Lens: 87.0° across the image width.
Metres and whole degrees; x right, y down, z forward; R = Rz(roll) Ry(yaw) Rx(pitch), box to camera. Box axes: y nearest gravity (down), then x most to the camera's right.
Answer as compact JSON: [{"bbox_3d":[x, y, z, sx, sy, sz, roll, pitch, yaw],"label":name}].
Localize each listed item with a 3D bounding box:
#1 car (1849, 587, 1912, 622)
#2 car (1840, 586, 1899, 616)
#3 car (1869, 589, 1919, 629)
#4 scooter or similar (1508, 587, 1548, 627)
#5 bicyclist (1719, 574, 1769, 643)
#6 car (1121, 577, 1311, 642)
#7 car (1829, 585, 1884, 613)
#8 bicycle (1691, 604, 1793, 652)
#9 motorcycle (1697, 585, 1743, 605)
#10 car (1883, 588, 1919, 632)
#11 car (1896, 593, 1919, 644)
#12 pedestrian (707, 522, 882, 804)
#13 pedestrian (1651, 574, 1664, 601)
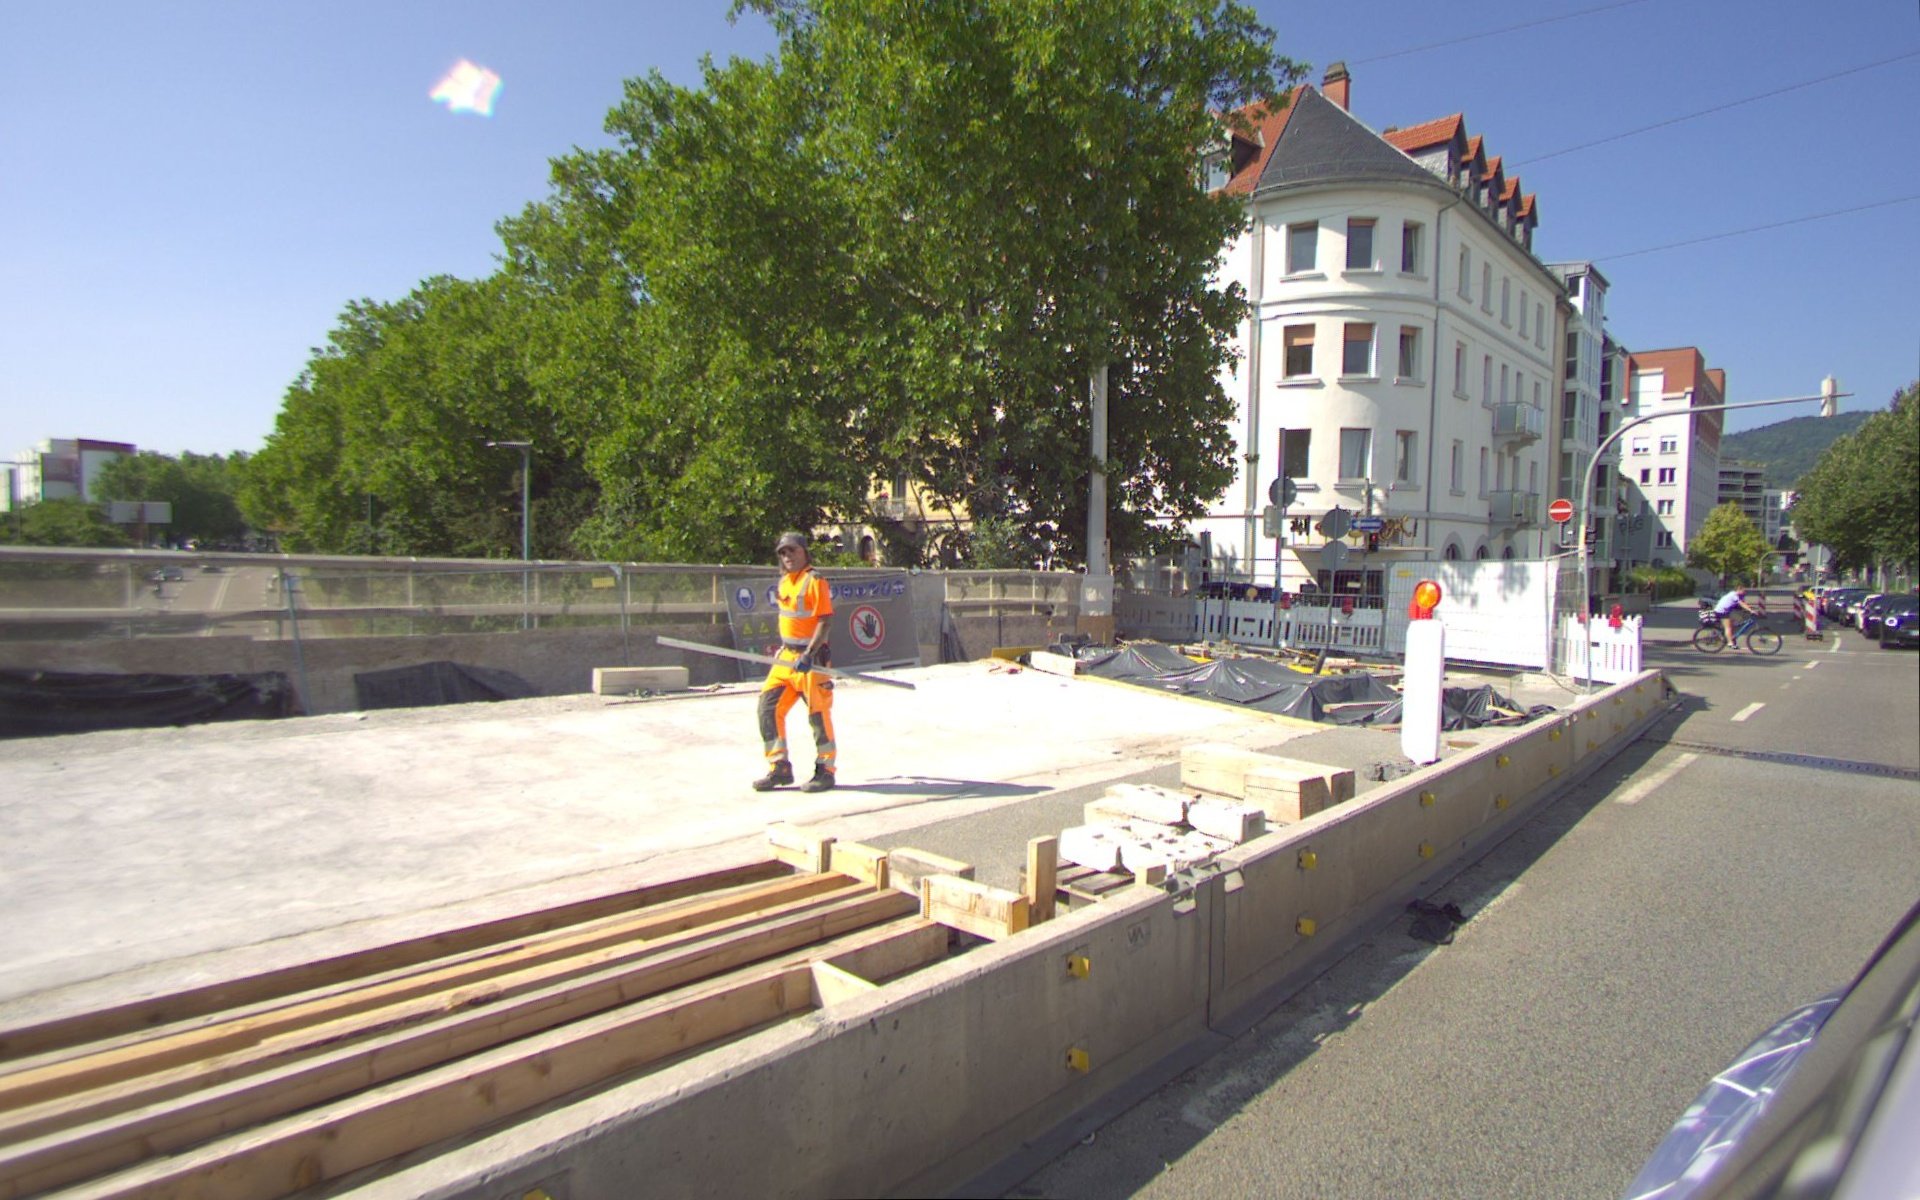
[{"bbox_3d":[38.902,0.151,42.827,1.760,1.371,3.942,2,2,40],"label":"car"},{"bbox_3d":[43.318,0.019,48.262,1.759,1.371,3.945,2,2,38],"label":"car"},{"bbox_3d":[35.083,0.301,37.713,1.761,1.371,3.940,2,2,42],"label":"car"},{"bbox_3d":[16.649,0.211,29.656,1.278,1.131,0.340,0,2,-28],"label":"scooter or similar"},{"bbox_3d":[18.596,0.183,24.018,0.778,1.568,0.703,2,4,31],"label":"bicyclist"},{"bbox_3d":[6.523,0.185,26.149,4.536,1.499,1.650,2,1,44],"label":"car"},{"bbox_3d":[47.774,-0.080,53.987,1.757,1.371,3.949,2,2,36],"label":"car"},{"bbox_3d":[18.562,0.646,24.082,1.805,1.002,0.703,3,4,31],"label":"bicycle"},{"bbox_3d":[47.461,-0.309,63.197,0.732,1.180,2.174,0,3,-44],"label":"motorcycle"},{"bbox_3d":[31.524,0.306,33.232,1.762,1.371,3.938,2,2,43],"label":"car"},{"bbox_3d":[26.920,0.489,27.704,1.763,1.337,3.935,2,2,45],"label":"car"},{"bbox_3d":[-1.171,0.382,7.137,0.819,1.816,0.850,5,4,43],"label":"pedestrian"},{"bbox_3d":[47.134,-0.863,68.374,0.596,1.785,0.742,3,2,37],"label":"pedestrian"}]
